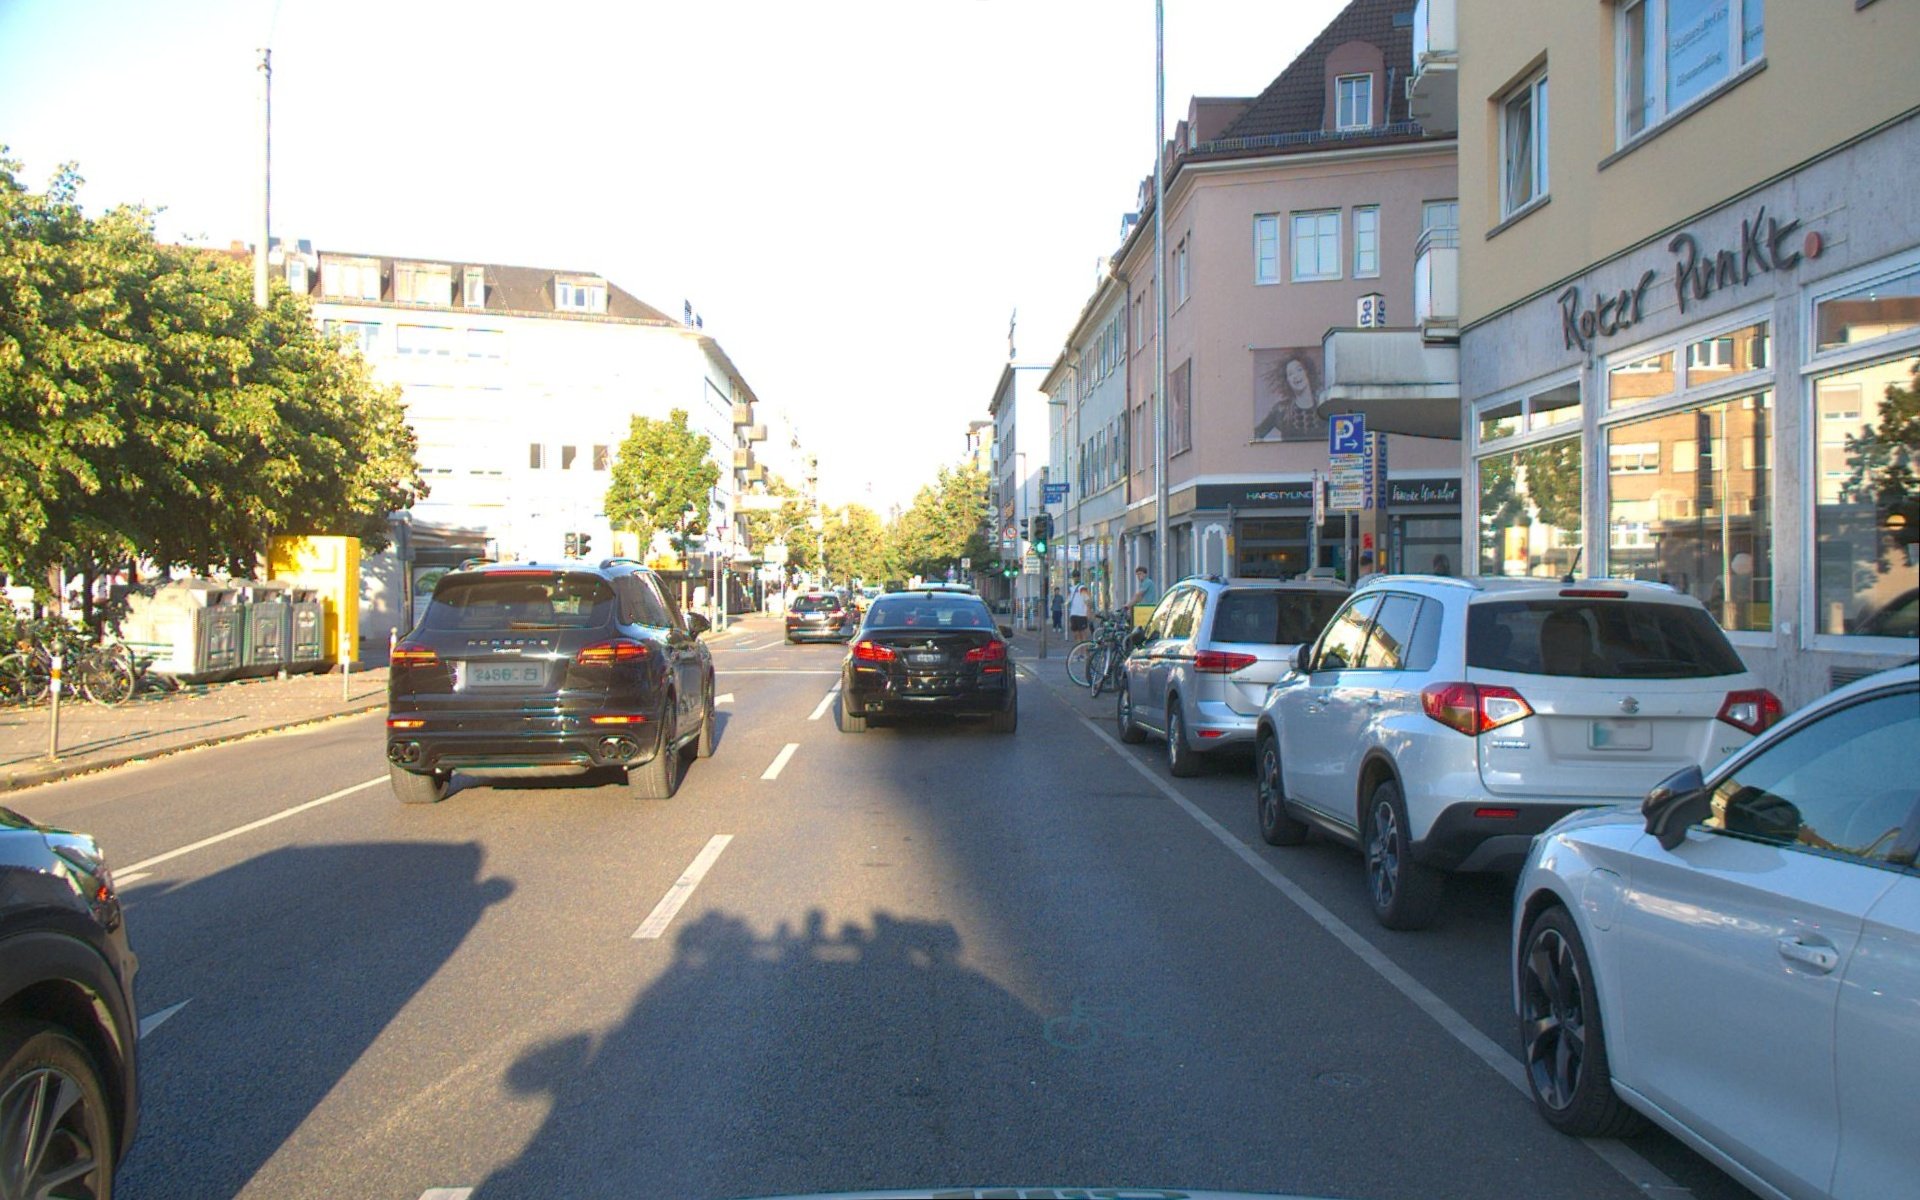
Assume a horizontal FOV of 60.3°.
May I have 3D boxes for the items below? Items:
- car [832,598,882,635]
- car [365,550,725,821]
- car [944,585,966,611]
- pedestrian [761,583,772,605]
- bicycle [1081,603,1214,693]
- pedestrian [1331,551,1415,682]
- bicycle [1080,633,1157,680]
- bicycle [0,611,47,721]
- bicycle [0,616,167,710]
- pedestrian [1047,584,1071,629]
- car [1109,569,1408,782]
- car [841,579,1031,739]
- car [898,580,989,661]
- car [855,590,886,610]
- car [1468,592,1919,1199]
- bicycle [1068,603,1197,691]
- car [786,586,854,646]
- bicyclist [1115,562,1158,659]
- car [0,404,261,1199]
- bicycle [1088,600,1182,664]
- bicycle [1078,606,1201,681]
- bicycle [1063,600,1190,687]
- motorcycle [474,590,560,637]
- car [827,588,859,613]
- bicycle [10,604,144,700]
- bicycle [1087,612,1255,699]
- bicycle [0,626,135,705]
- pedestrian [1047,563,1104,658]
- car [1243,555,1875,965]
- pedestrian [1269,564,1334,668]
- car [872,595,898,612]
[{"bbox_3d":[-4.388,0.681,70.887,1.953,1.512,3.999,0,0,-1],"label":"car"},{"bbox_3d":[-3.028,0.532,13.085,1.910,1.744,4.559,-1,0,-3],"label":"car"},{"bbox_3d":[-0.395,-0.132,122.825,1.393,1.887,3.050,1,0,-5],"label":"car"},{"bbox_3d":[-15.378,-0.491,131.639,0.807,1.706,0.871,0,0,-3],"label":"pedestrian"},{"bbox_3d":[2.663,0.664,23.491,1.751,1.193,0.620,-2,1,-13],"label":"bicycle"},{"bbox_3d":[5.977,0.225,23.939,0.818,1.848,0.859,0,0,-39],"label":"pedestrian"},{"bbox_3d":[2.524,0.895,26.425,0.986,0.693,1.048,0,1,-11],"label":"bicycle"},{"bbox_3d":[-11.995,0.764,19.598,1.986,1.274,0.548,1,0,-6],"label":"bicycle"},{"bbox_3d":[-11.356,0.805,21.280,1.986,1.154,0.548,1,0,-6],"label":"bicycle"},{"bbox_3d":[3.745,0.244,62.838,0.807,1.670,0.871,0,0,-4],"label":"pedestrian"},{"bbox_3d":[2.540,0.567,15.199,1.664,1.644,4.680,0,0,-3],"label":"car"},{"bbox_3d":[-0.337,0.567,18.497,1.865,1.567,4.447,0,0,-3],"label":"car"},{"bbox_3d":[-0.332,0.387,34.808,1.795,1.603,4.100,0,0,0],"label":"car"},{"bbox_3d":[-6.459,-0.013,119.463,1.956,1.467,3.994,0,0,-7],"label":"car"},{"bbox_3d":[2.579,0.738,3.240,1.698,1.482,4.610,0,0,-1],"label":"car"},{"bbox_3d":[2.516,0.675,24.119,1.751,1.193,0.620,-2,1,-13],"label":"bicycle"},{"bbox_3d":[-3.972,0.423,47.437,1.835,1.623,4.447,0,0,-3],"label":"car"},{"bbox_3d":[3.428,0.200,32.055,0.815,1.858,0.831,0,0,6],"label":"bicyclist"},{"bbox_3d":[-2.491,0.551,1.645,1.835,1.719,4.447,-1,1,-3],"label":"car"},{"bbox_3d":[3.392,0.609,32.058,1.781,1.207,0.794,0,0,8],"label":"bicycle"},{"bbox_3d":[2.800,0.669,25.812,1.751,1.082,0.716,-2,1,-13],"label":"bicycle"},{"bbox_3d":[2.499,0.640,24.865,1.808,1.261,0.638,-1,0,-7],"label":"bicycle"},{"bbox_3d":[-14.204,0.427,53.109,2.528,1.454,0.868,0,0,0],"label":"motorcycle"},{"bbox_3d":[-8.062,0.014,113.793,1.956,1.646,3.994,0,0,-7],"label":"car"},{"bbox_3d":[-12.124,0.712,22.730,1.554,1.274,0.444,1,0,-3],"label":"bicycle"},{"bbox_3d":[2.859,0.742,22.544,2.129,1.094,0.804,-1,0,-9],"label":"bicycle"},{"bbox_3d":[-12.014,0.871,22.109,1.641,0.996,0.548,1,0,-6],"label":"bicycle"},{"bbox_3d":[2.398,0.208,34.379,0.925,1.931,0.820,0,0,-23],"label":"pedestrian"},{"bbox_3d":[2.782,0.631,8.780,1.780,1.649,4.202,0,0,-1],"label":"car"},{"bbox_3d":[5.636,0.264,27.300,0.778,1.682,0.775,0,0,42],"label":"pedestrian"},{"bbox_3d":[-5.735,0.259,126.262,1.701,1.315,3.994,0,0,-7],"label":"car"}]
